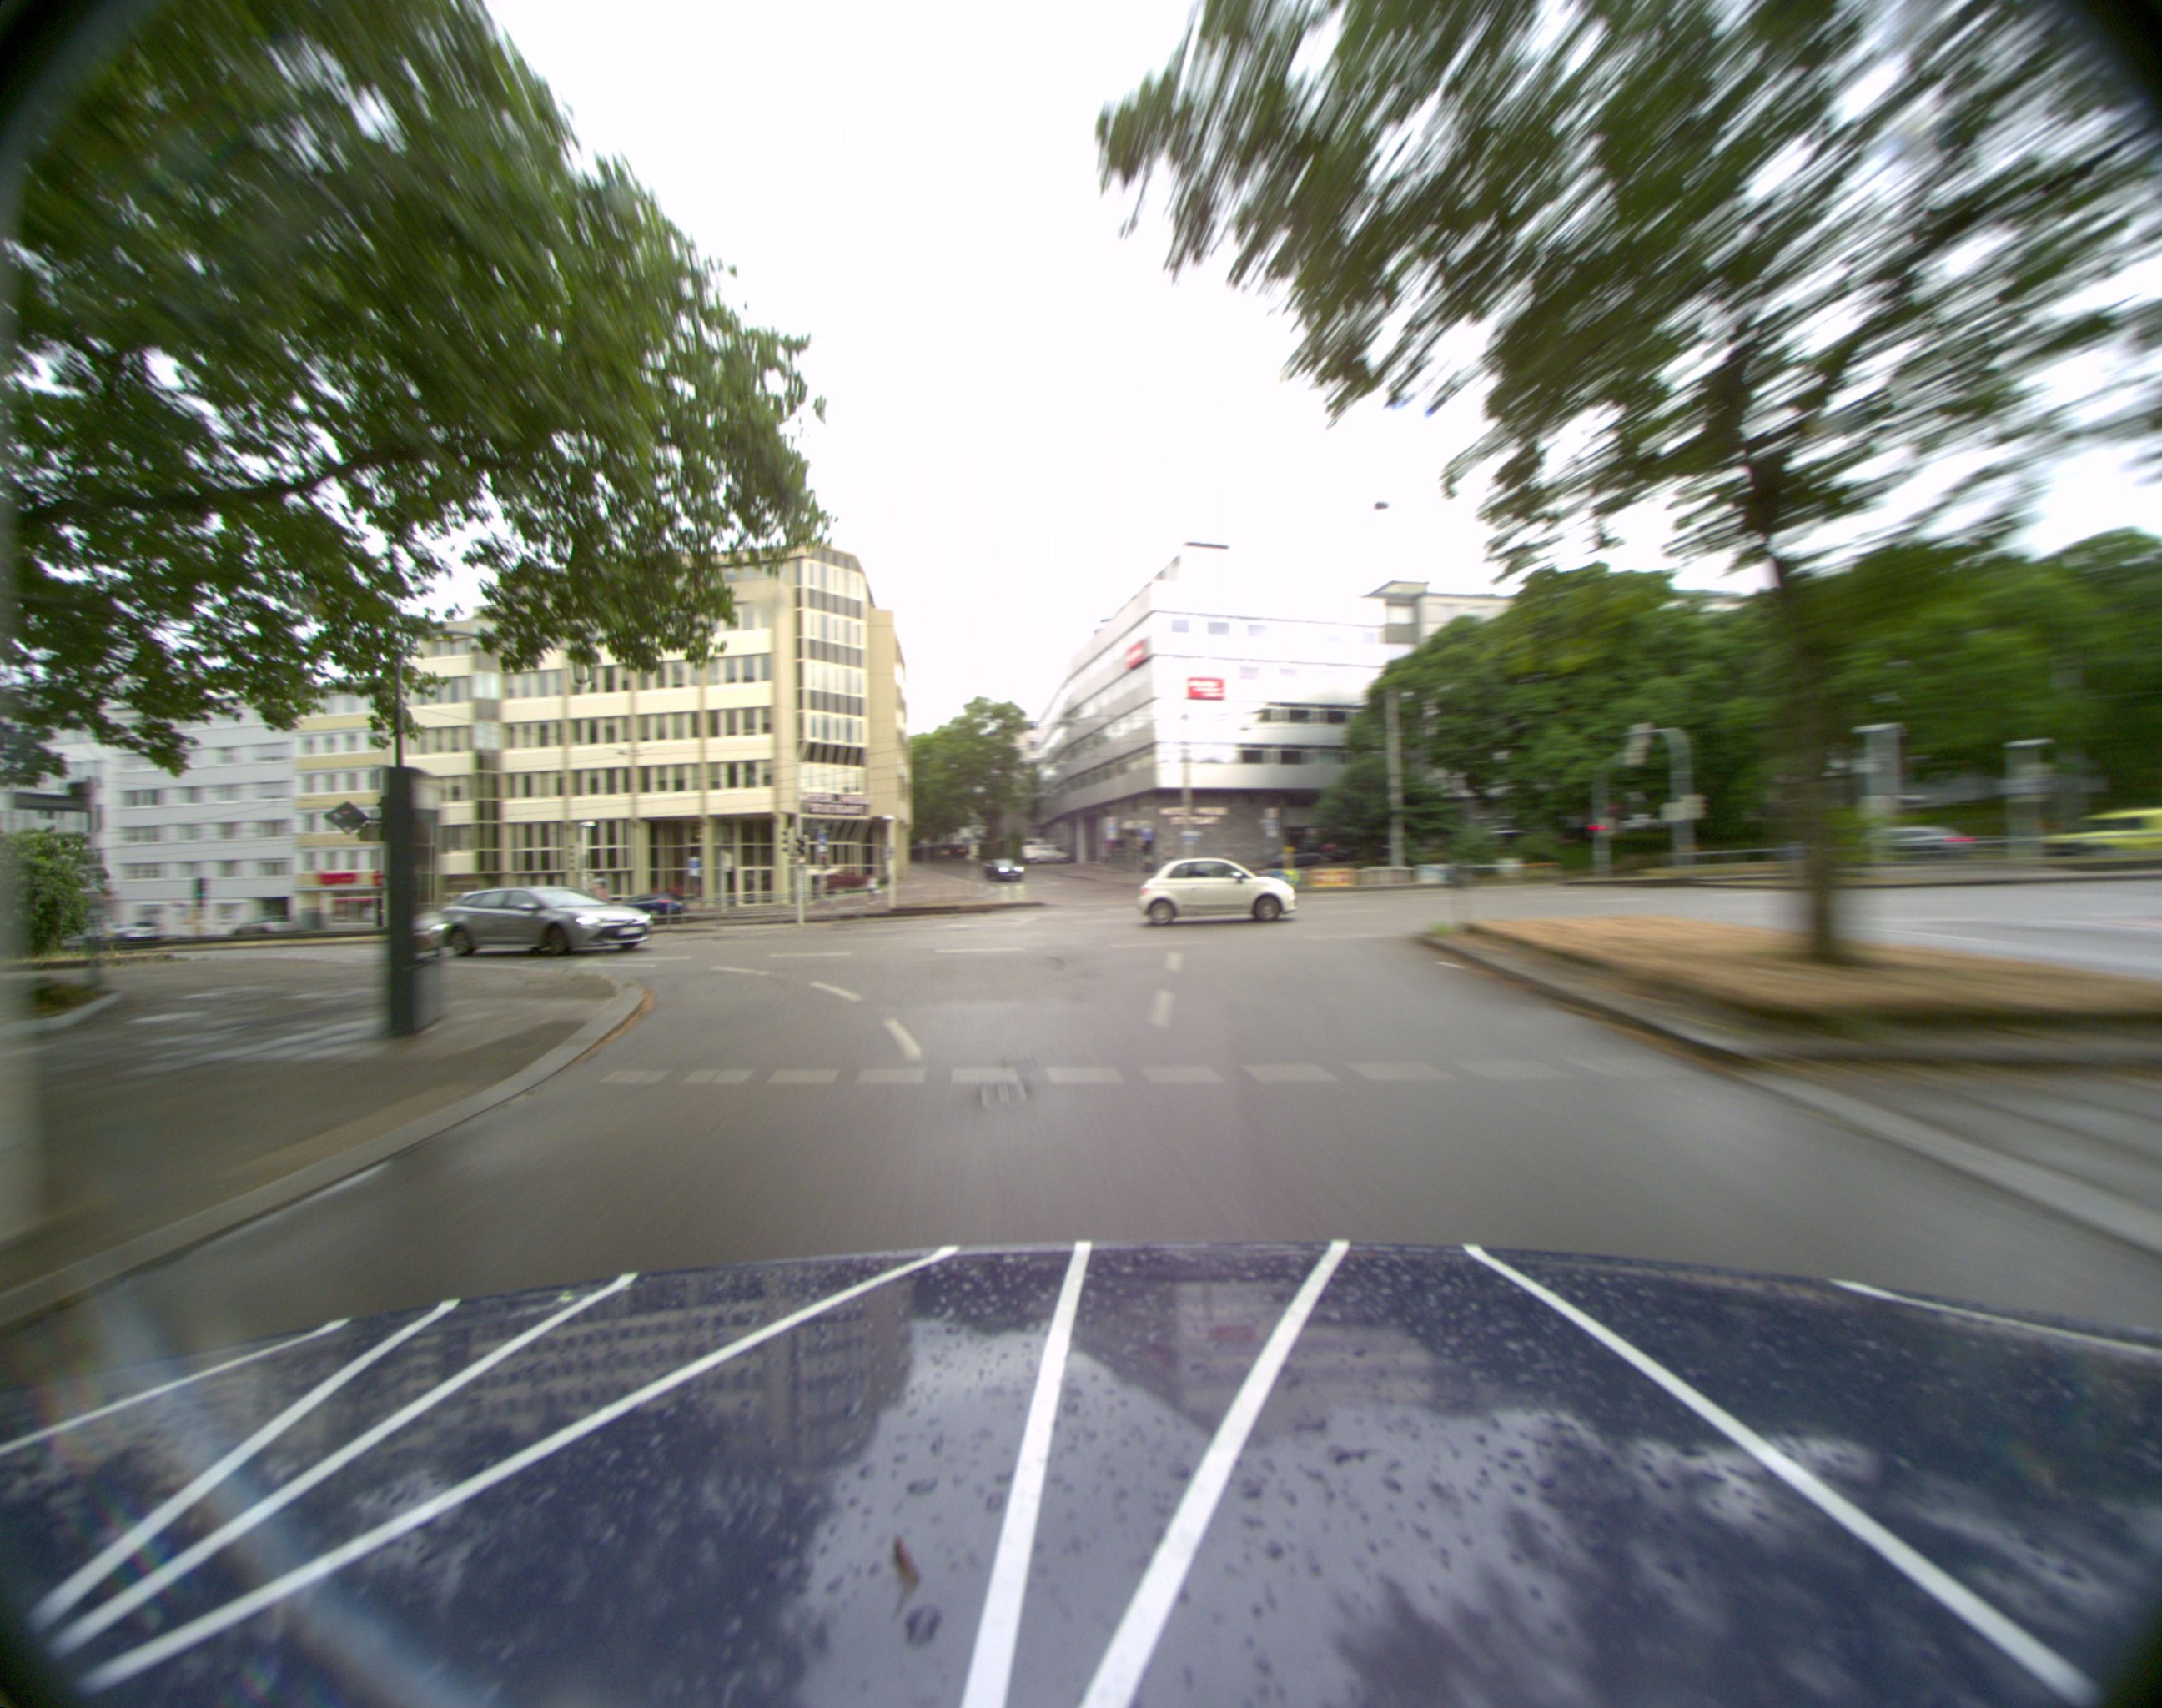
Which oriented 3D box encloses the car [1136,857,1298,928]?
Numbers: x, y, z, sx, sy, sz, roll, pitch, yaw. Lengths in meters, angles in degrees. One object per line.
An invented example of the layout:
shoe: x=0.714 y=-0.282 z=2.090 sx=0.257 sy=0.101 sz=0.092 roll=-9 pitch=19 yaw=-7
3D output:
car: x=3.065 y=0.884 z=17.421 sx=3.435 sy=1.425 sz=1.657 roll=-3 pitch=-3 yaw=8

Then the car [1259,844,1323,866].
car: x=15.279 y=0.073 z=55.234 sx=4.096 sy=1.422 sz=1.876 roll=-3 pitch=-1 yaw=-20

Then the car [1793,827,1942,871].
car: x=31.430 y=-0.177 z=30.494 sx=3.675 sy=1.536 sz=1.928 roll=-3 pitch=-1 yaw=11

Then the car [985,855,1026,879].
car: x=-5.921 y=0.983 z=58.884 sx=2.001 sy=1.571 sz=4.878 roll=-3 pitch=2 yaw=-19

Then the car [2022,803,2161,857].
car: x=39.382 y=-0.918 z=28.709 sx=4.559 sy=1.839 sz=1.928 roll=-3 pitch=-1 yaw=11

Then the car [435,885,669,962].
car: x=-11.181 y=1.453 z=16.102 sx=4.289 sy=1.425 sz=1.816 roll=-3 pitch=-3 yaw=18

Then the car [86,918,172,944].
car: x=-64.370 y=5.194 z=51.401 sx=4.071 sy=1.504 sz=1.892 roll=-3 pitch=0 yaw=10

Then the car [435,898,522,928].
car: x=-36.196 y=3.534 z=45.683 sx=4.071 sy=1.504 sz=1.803 roll=-3 pitch=0 yaw=10

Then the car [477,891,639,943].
car: x=-16.267 y=1.953 z=23.648 sx=4.466 sy=1.433 sz=1.805 roll=-3 pitch=-3 yaw=18

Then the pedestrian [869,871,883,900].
pedestrian: x=-11.995 y=1.843 z=44.447 sx=0.720 sy=1.629 sz=0.759 roll=-2 pitch=1 yaw=-17

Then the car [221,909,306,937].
car: x=-52.984 y=4.480 z=49.253 sx=4.071 sy=1.504 sz=1.803 roll=-3 pitch=0 yaw=10

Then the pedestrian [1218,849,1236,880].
pedestrian: x=8.965 y=0.656 z=46.804 sx=0.720 sy=1.850 sz=0.847 roll=-2 pitch=1 yaw=-17

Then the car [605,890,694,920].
car: x=-24.456 y=2.877 z=43.081 sx=4.210 sy=1.468 sz=1.804 roll=-3 pitch=-3 yaw=12

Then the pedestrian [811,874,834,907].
pedestrian: x=-14.616 y=2.064 z=42.968 sx=0.829 sy=1.776 sz=0.761 roll=-2 pitch=1 yaw=27

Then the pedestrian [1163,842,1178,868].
pedestrian: x=6.672 y=0.085 z=56.624 sx=0.760 sy=1.850 sz=0.719 roll=-4 pitch=1 yaw=-13

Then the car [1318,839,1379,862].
car: x=20.022 y=-0.260 z=56.866 sx=4.003 sy=1.422 sz=1.876 roll=-3 pitch=-1 yaw=-20

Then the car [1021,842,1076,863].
car: x=-3.430 y=-0.162 z=79.681 sx=5.414 sy=2.001 sz=1.999 roll=-2 pitch=-3 yaw=-11
